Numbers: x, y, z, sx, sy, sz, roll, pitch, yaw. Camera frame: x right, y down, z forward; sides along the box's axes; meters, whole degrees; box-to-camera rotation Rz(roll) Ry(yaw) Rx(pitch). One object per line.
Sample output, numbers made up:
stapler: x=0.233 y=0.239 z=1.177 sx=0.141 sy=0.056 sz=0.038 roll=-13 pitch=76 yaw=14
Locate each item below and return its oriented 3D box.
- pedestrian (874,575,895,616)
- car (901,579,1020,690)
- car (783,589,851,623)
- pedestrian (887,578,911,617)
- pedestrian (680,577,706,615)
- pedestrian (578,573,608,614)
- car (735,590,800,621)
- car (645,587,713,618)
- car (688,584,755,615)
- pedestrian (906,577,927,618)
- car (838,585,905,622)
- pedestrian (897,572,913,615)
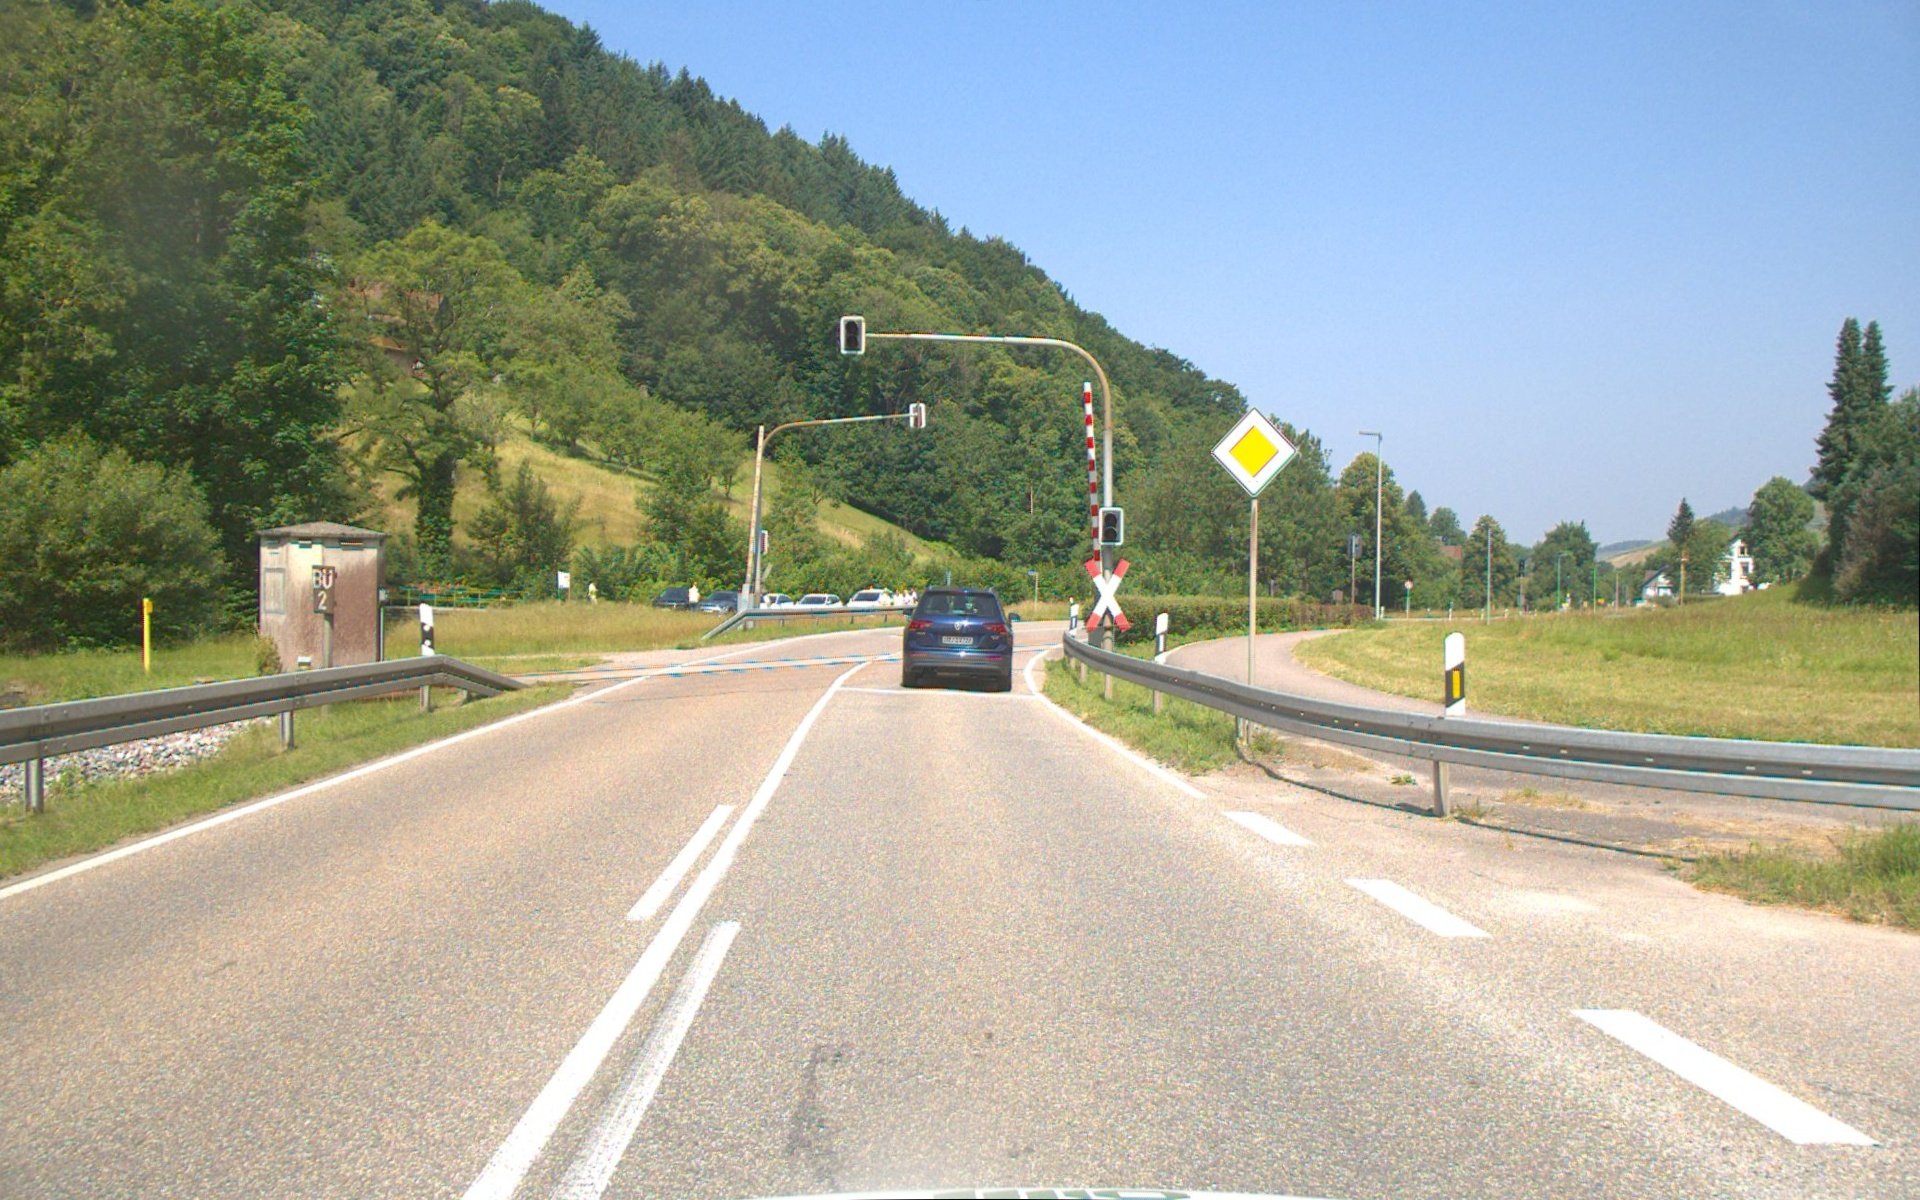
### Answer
pedestrian: x=-3.500 y=-0.205 z=76.669 sx=0.772 sy=1.874 sz=0.698 roll=0 pitch=0 yaw=25
car: x=0.010 y=0.531 z=27.887 sx=1.815 sy=1.678 sz=4.140 roll=2 pitch=0 yaw=0
car: x=-7.303 y=0.282 z=84.817 sx=1.951 sy=1.670 sz=4.905 roll=-1 pitch=0 yaw=14
pedestrian: x=-2.863 y=-0.119 z=77.848 sx=0.757 sy=1.827 sz=0.789 roll=-1 pitch=-1 yaw=41
pedestrian: x=-12.820 y=-0.188 z=79.446 sx=0.933 sy=1.826 sz=1.001 roll=-1 pitch=0 yaw=14
pedestrian: x=-18.147 y=-0.320 z=81.774 sx=1.105 sy=2.004 sz=0.860 roll=-1 pitch=-1 yaw=29
car: x=-9.881 y=0.286 z=85.327 sx=1.951 sy=1.527 sz=4.525 roll=-1 pitch=0 yaw=12
car: x=-14.660 y=0.126 z=86.418 sx=1.951 sy=1.527 sz=4.525 roll=-1 pitch=0 yaw=12
car: x=-12.309 y=-0.023 z=85.707 sx=1.951 sy=1.527 sz=4.525 roll=2 pitch=0 yaw=12
pedestrian: x=-2.033 y=-0.122 z=77.492 sx=0.764 sy=1.891 sz=0.639 roll=0 pitch=-1 yaw=-42
car: x=-4.493 y=0.187 z=84.658 sx=1.831 sy=1.813 sz=4.774 roll=1 pitch=0 yaw=17
pedestrian: x=-2.550 y=-0.287 z=76.956 sx=0.646 sy=1.989 sz=0.533 roll=-1 pitch=0 yaw=4
